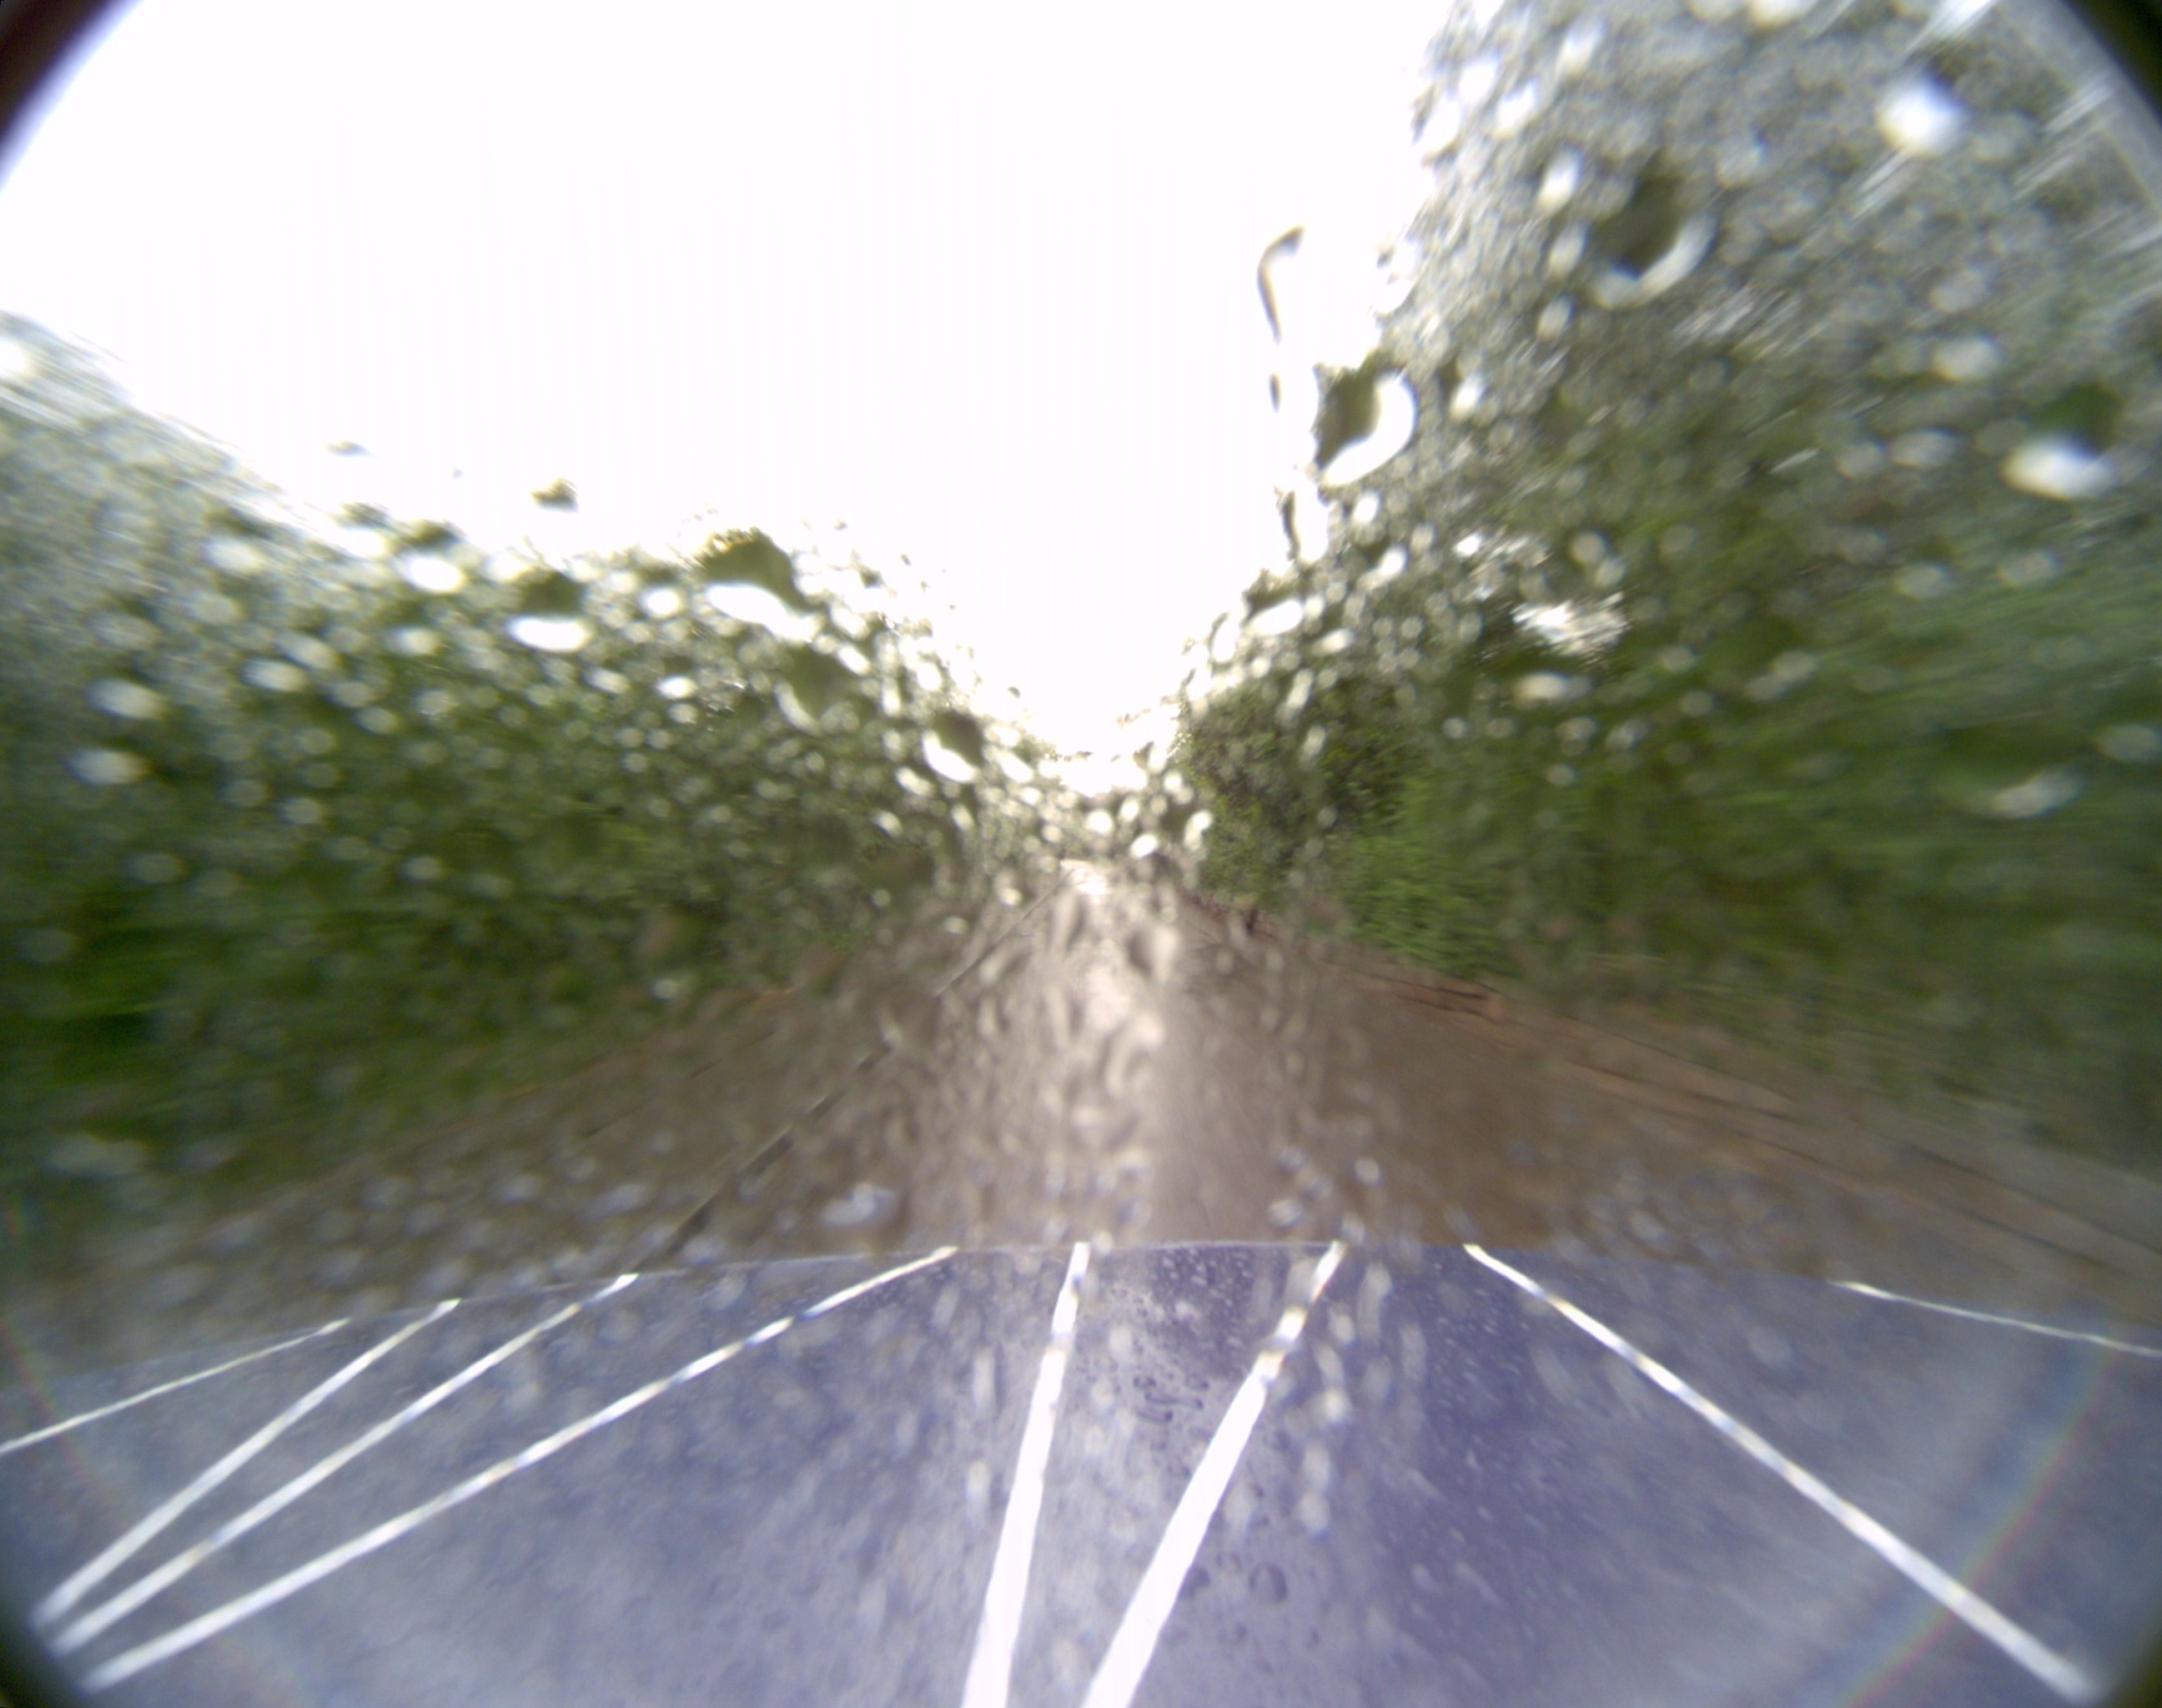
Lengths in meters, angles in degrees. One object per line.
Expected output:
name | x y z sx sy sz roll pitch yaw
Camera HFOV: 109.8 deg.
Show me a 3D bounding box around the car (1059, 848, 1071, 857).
car | -2.991 -0.286 141.452 1.894 1.514 4.419 -1 1 -4
